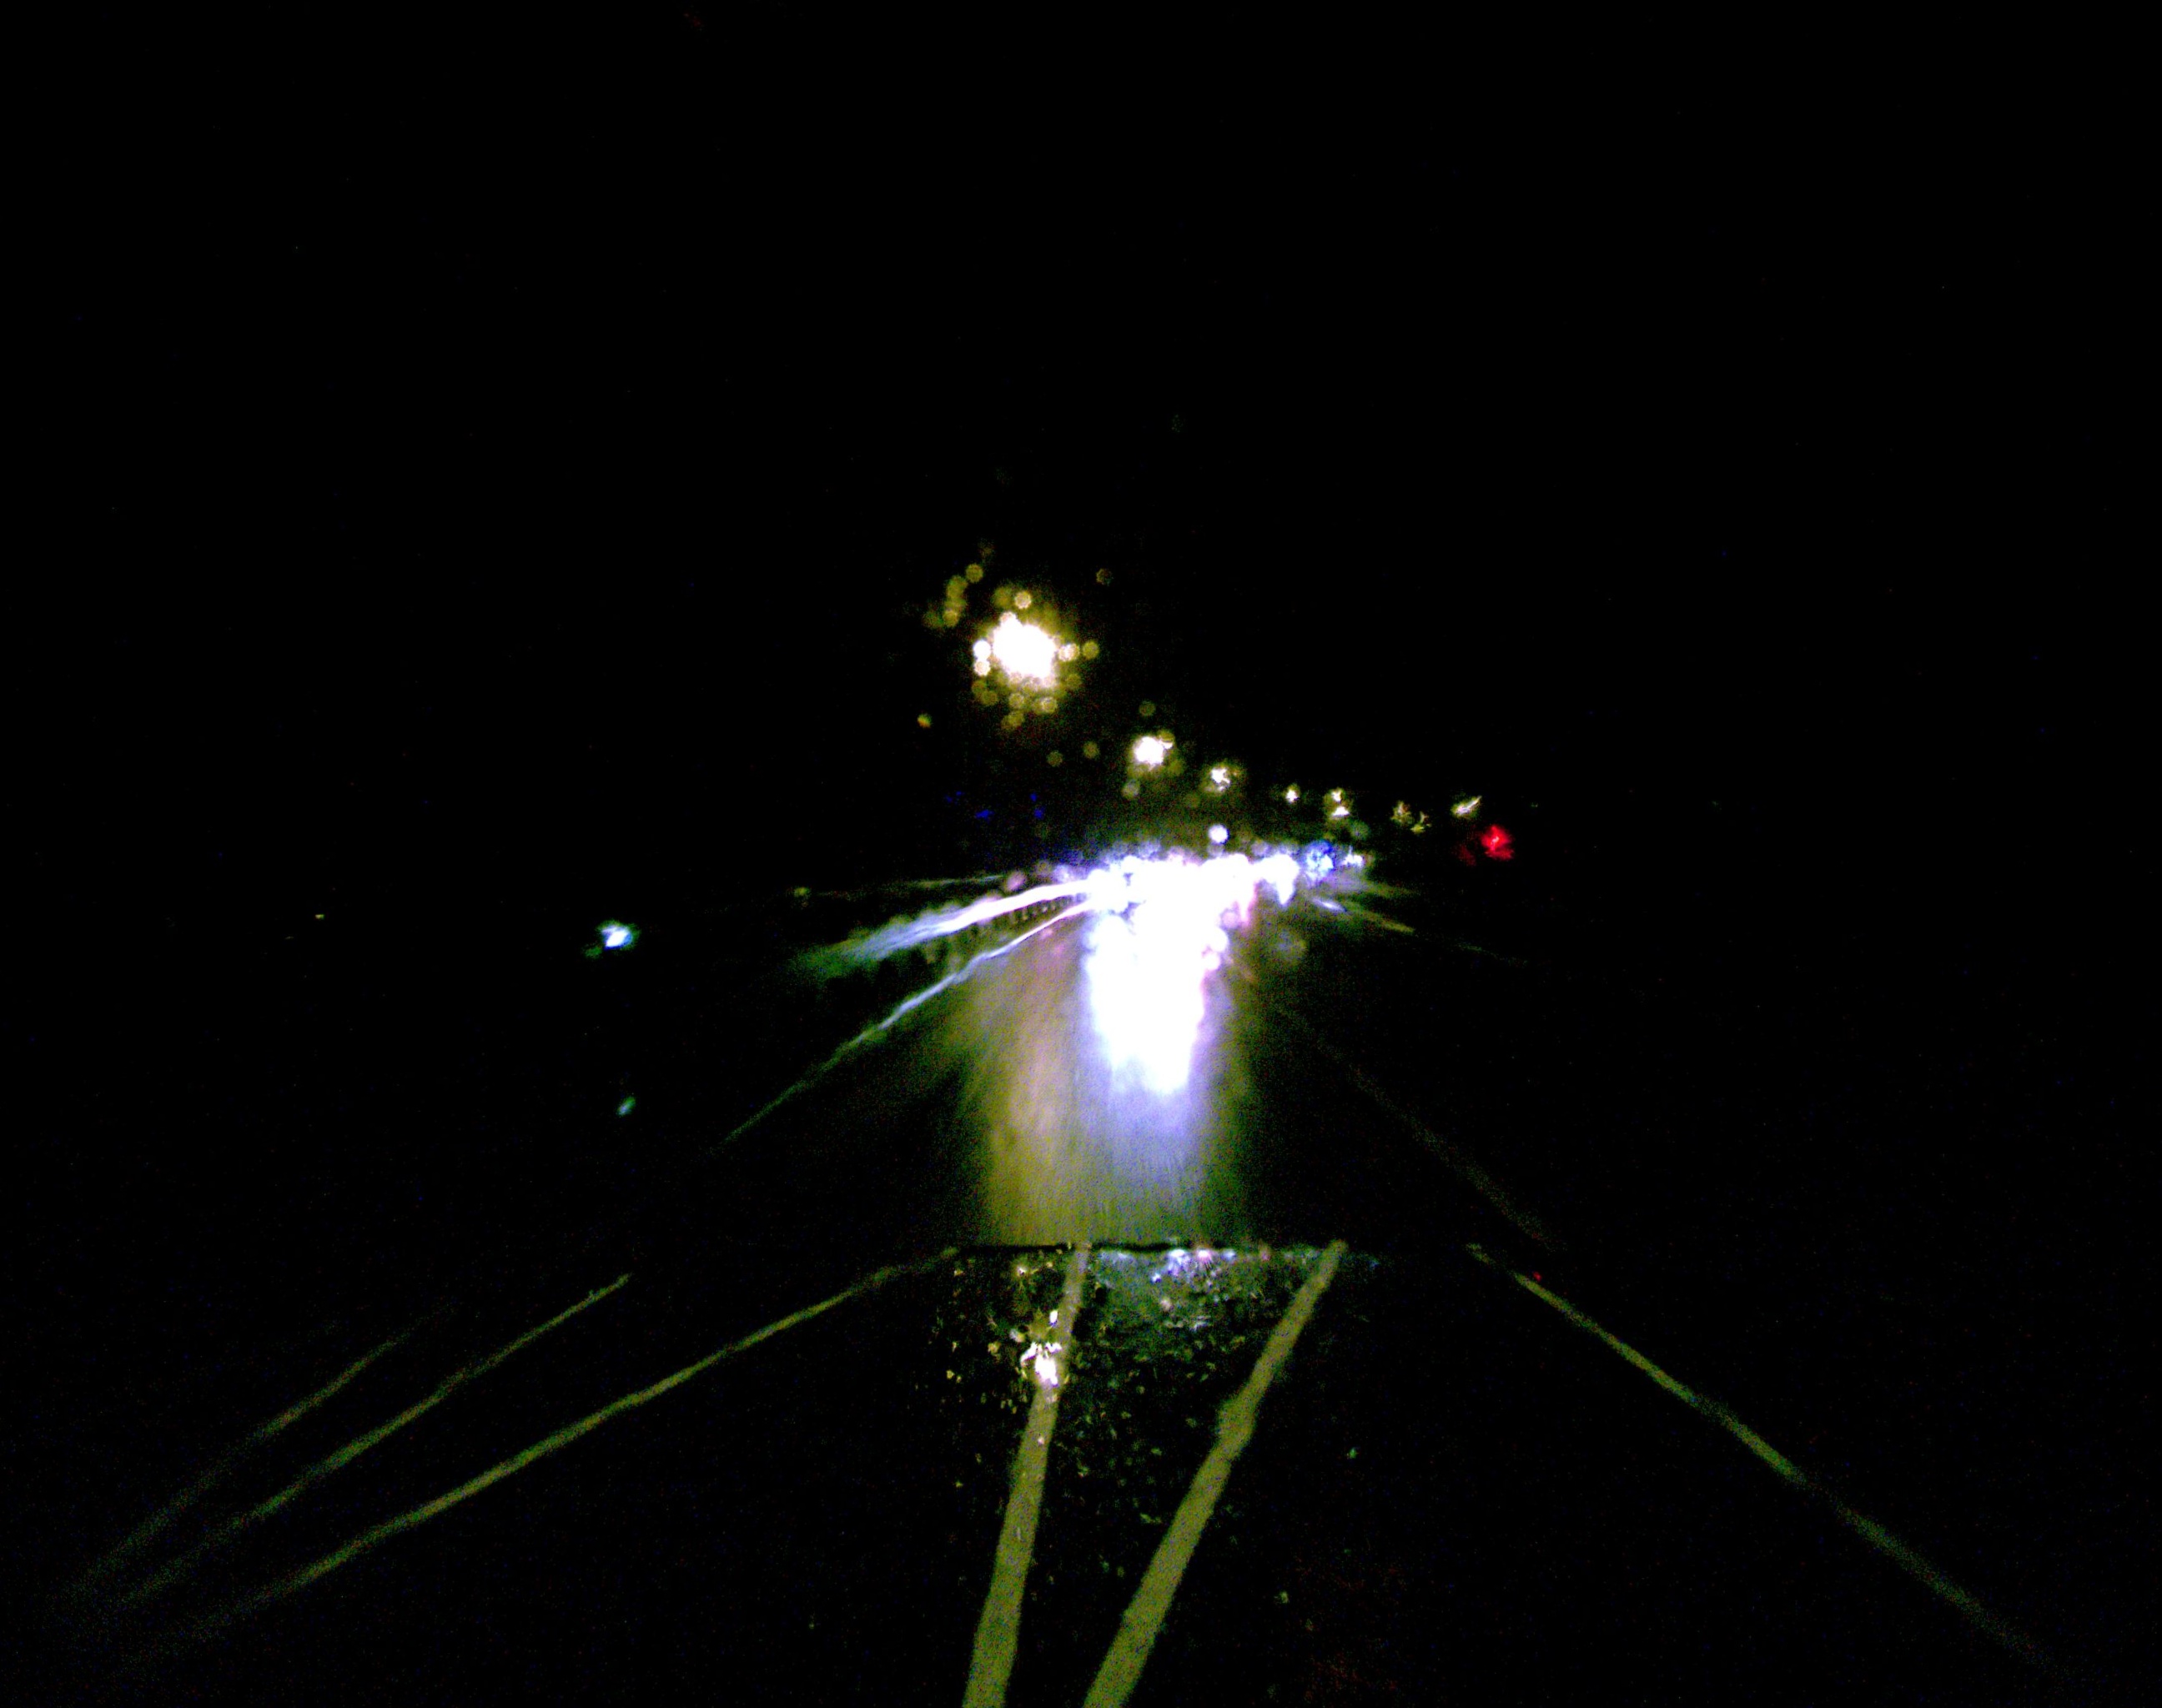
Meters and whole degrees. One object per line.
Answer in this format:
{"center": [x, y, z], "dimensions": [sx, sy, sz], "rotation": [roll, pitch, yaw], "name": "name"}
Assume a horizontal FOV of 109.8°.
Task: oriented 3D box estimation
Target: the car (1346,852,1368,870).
{"center": [36.067, 0.953, 99.338], "dimensions": [1.653, 1.999, 4.009], "rotation": [-10, -6, 32], "name": "car"}

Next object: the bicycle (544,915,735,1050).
{"center": [-4.475, 1.243, 7.929], "dimensions": [0.485, 1.028, 2.173], "rotation": [-1, 0, 7], "name": "bicycle"}

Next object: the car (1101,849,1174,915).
{"center": [1.693, 0.808, 22.537], "dimensions": [1.927, 1.704, 4.241], "rotation": [1, -1, 5], "name": "car"}

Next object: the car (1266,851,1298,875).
{"center": [19.367, 0.915, 73.154], "dimensions": [1.653, 1.999, 4.009], "rotation": [-10, -6, 31], "name": "car"}

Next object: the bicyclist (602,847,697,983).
{"center": [-4.488, 0.609, 7.945], "dimensions": [0.453, 1.341, 0.765], "rotation": [-2, 0, 8], "name": "bicyclist"}

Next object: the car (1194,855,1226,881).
{"center": [8.126, 0.876, 47.788], "dimensions": [1.520, 1.516, 3.111], "rotation": [-1, -1, 17], "name": "car"}

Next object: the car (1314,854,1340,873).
{"center": [28.066, 1.102, 86.670], "dimensions": [1.653, 1.999, 4.009], "rotation": [-10, -6, 32], "name": "car"}

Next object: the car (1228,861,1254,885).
{"center": [12.466, 1.464, 59.075], "dimensions": [1.303, 1.519, 3.050], "rotation": [-9, -2, 22], "name": "car"}

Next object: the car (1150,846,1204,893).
{"center": [4.430, 0.663, 34.699], "dimensions": [1.996, 2.002, 4.004], "rotation": [0, 1, 14], "name": "car"}
